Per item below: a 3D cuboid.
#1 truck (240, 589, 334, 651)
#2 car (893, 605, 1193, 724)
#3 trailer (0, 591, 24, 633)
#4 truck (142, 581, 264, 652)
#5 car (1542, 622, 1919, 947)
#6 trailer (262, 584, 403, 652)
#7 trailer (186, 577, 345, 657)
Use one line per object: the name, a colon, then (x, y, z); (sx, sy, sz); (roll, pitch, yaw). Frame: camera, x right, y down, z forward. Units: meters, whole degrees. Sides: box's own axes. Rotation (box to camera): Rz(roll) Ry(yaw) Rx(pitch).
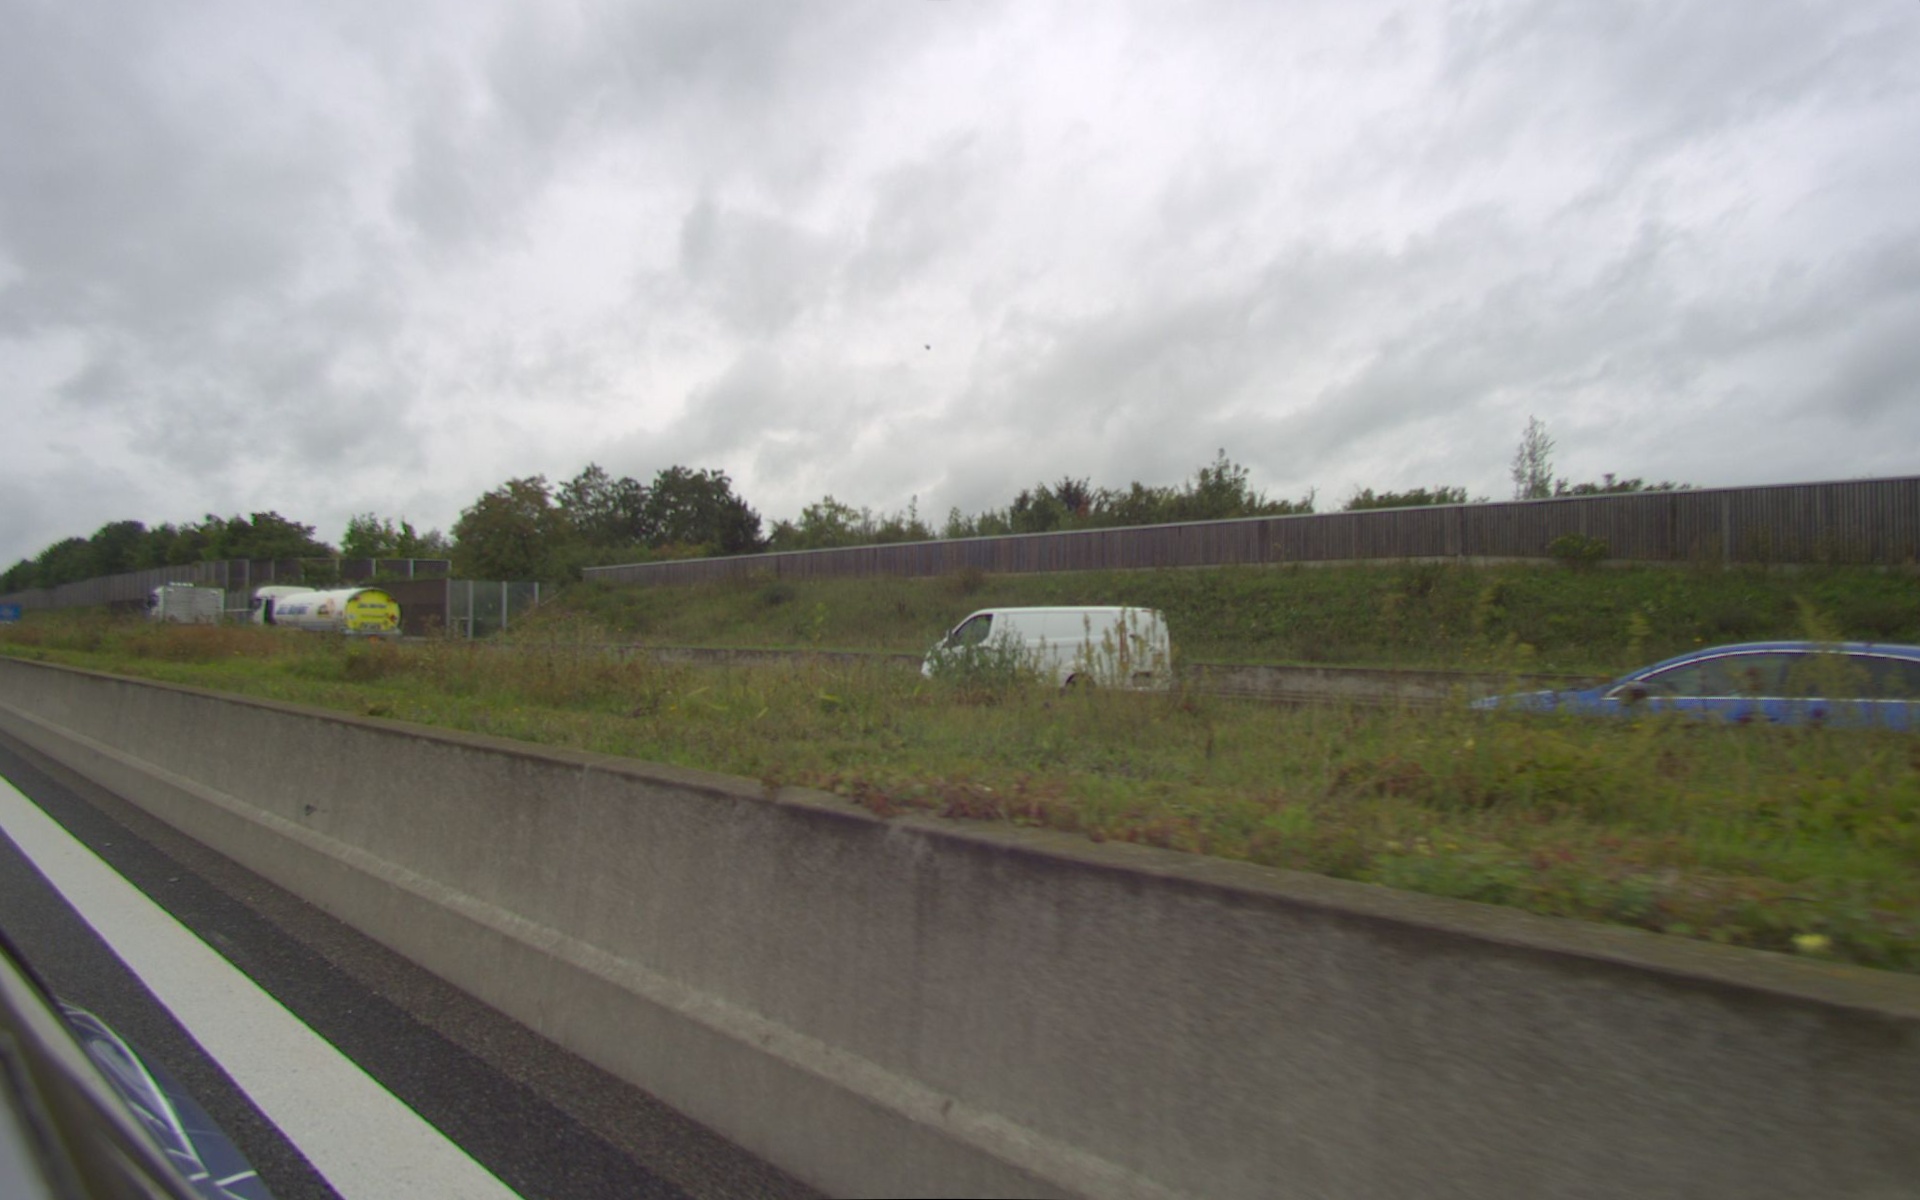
truck: (-35.159, 1.001, 52.836); (5.608, 3.042, 2.595); (-1, 0, 40)
car: (1.449, 1.153, 19.939); (5.951, 2.029, 1.887); (-1, -1, 41)
trailer: (-116.845, 1.536, 122.604); (13.512, 4.922, 3.185); (-1, 0, 39)
truck: (-36.376, 0.765, 48.493); (8.723, 3.090, 2.925); (-1, 0, 41)
car: (6.648, 1.195, 7.280); (3.995, 2.029, 1.974); (-2, -1, 39)
trailer: (-30.528, 0.878, 48.924); (10.788, 3.012, 2.585); (-1, -1, 40)
trailer: (-29.089, 0.690, 42.098); (10.563, 2.981, 2.925); (-1, 0, 41)
